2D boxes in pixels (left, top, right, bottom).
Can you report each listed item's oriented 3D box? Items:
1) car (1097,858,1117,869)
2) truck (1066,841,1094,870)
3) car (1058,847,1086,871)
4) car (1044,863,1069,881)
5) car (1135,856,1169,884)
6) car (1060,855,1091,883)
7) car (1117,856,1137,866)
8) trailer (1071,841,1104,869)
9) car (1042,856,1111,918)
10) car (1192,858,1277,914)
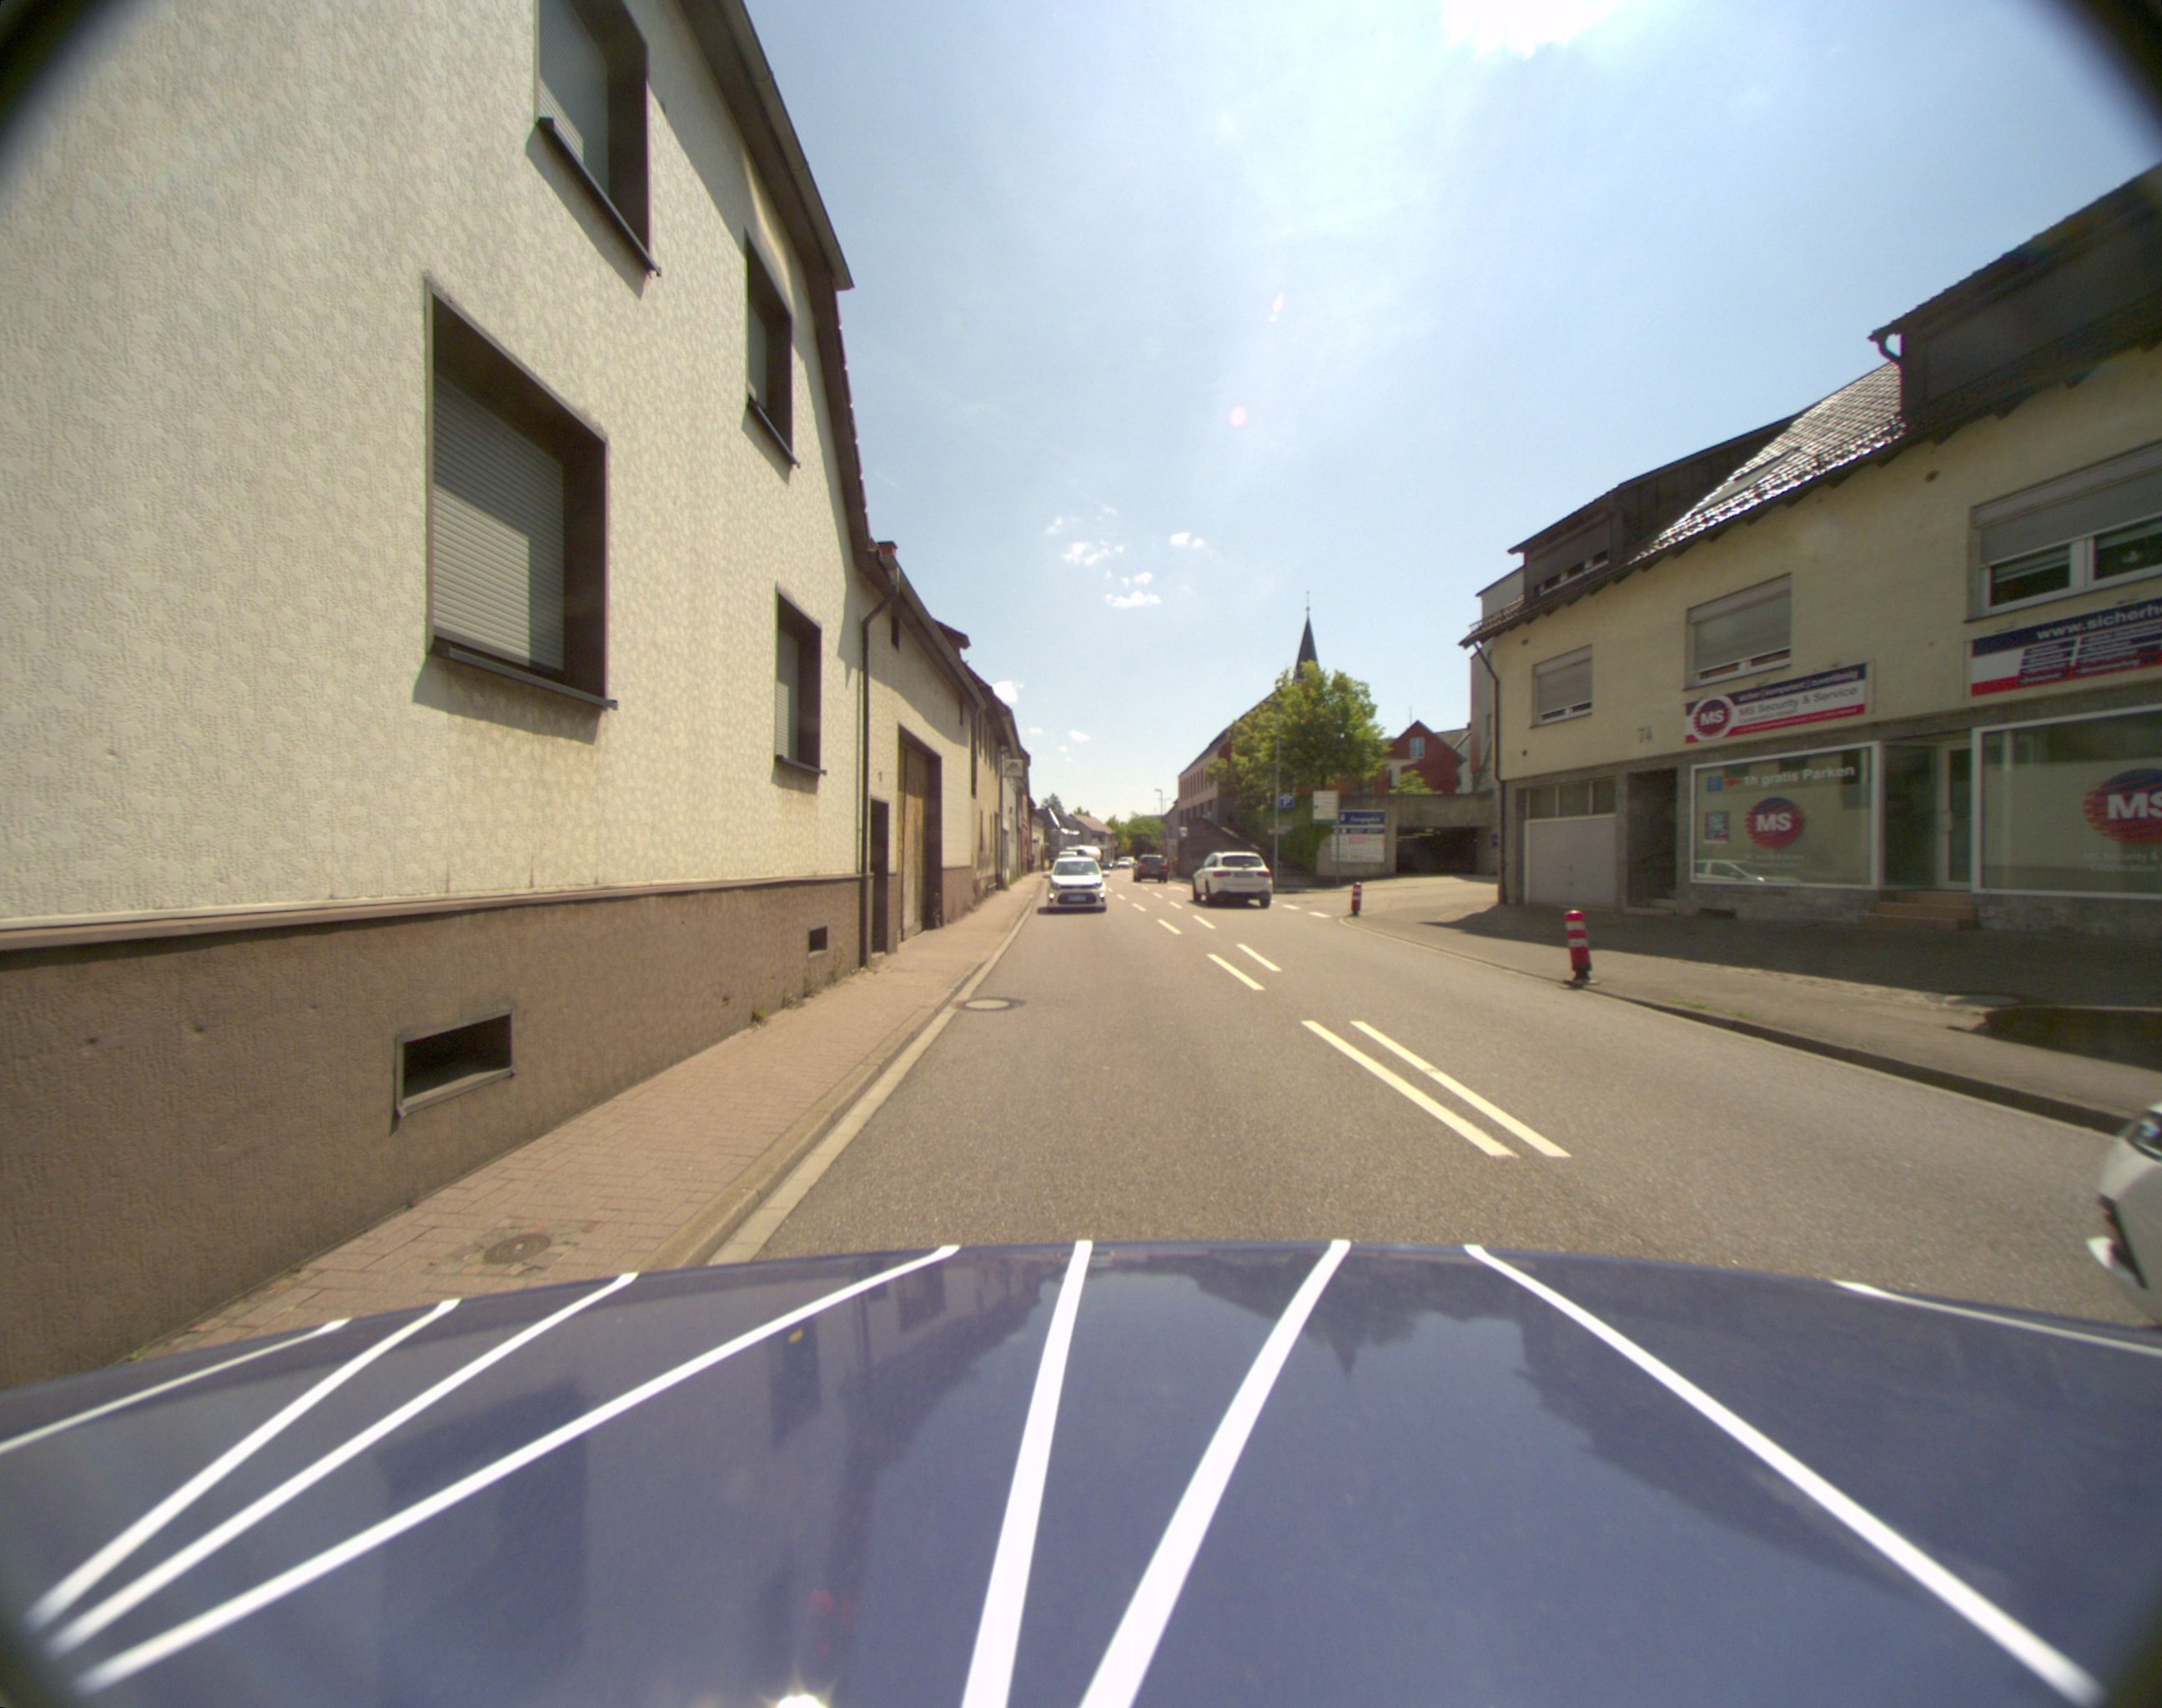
[{"bbox_3d":[3.996,1.472,115.484,2.009,1.621,4.583,-1,0,17],"label":"car"},{"bbox_3d":[-0.073,0.185,95.797,2.846,3.549,5.472,-1,0,8],"label":"truck"},{"bbox_3d":[-0.926,0.527,81.767,2.173,2.548,4.828,-1,0,9],"label":"car"},{"bbox_3d":[-2.044,1.429,61.742,1.929,1.358,4.302,-2,0,-3],"label":"car"},{"bbox_3d":[4.280,0.933,46.432,1.762,1.625,4.049,0,0,1],"label":"car"},{"bbox_3d":[-0.383,0.880,45.748,1.725,1.541,4.302,-2,0,-1],"label":"car"},{"bbox_3d":[7.667,1.167,125.788,2.008,1.621,4.584,-1,0,20],"label":"car"},{"bbox_3d":[0.986,0.170,102.518,2.835,3.549,10.973,-1,0,9],"label":"trailer"},{"bbox_3d":[-0.027,0.863,21.889,1.724,1.541,4.304,-2,0,3],"label":"car"},{"bbox_3d":[4.697,0.915,23.877,1.847,1.571,4.445,0,0,1],"label":"car"}]
